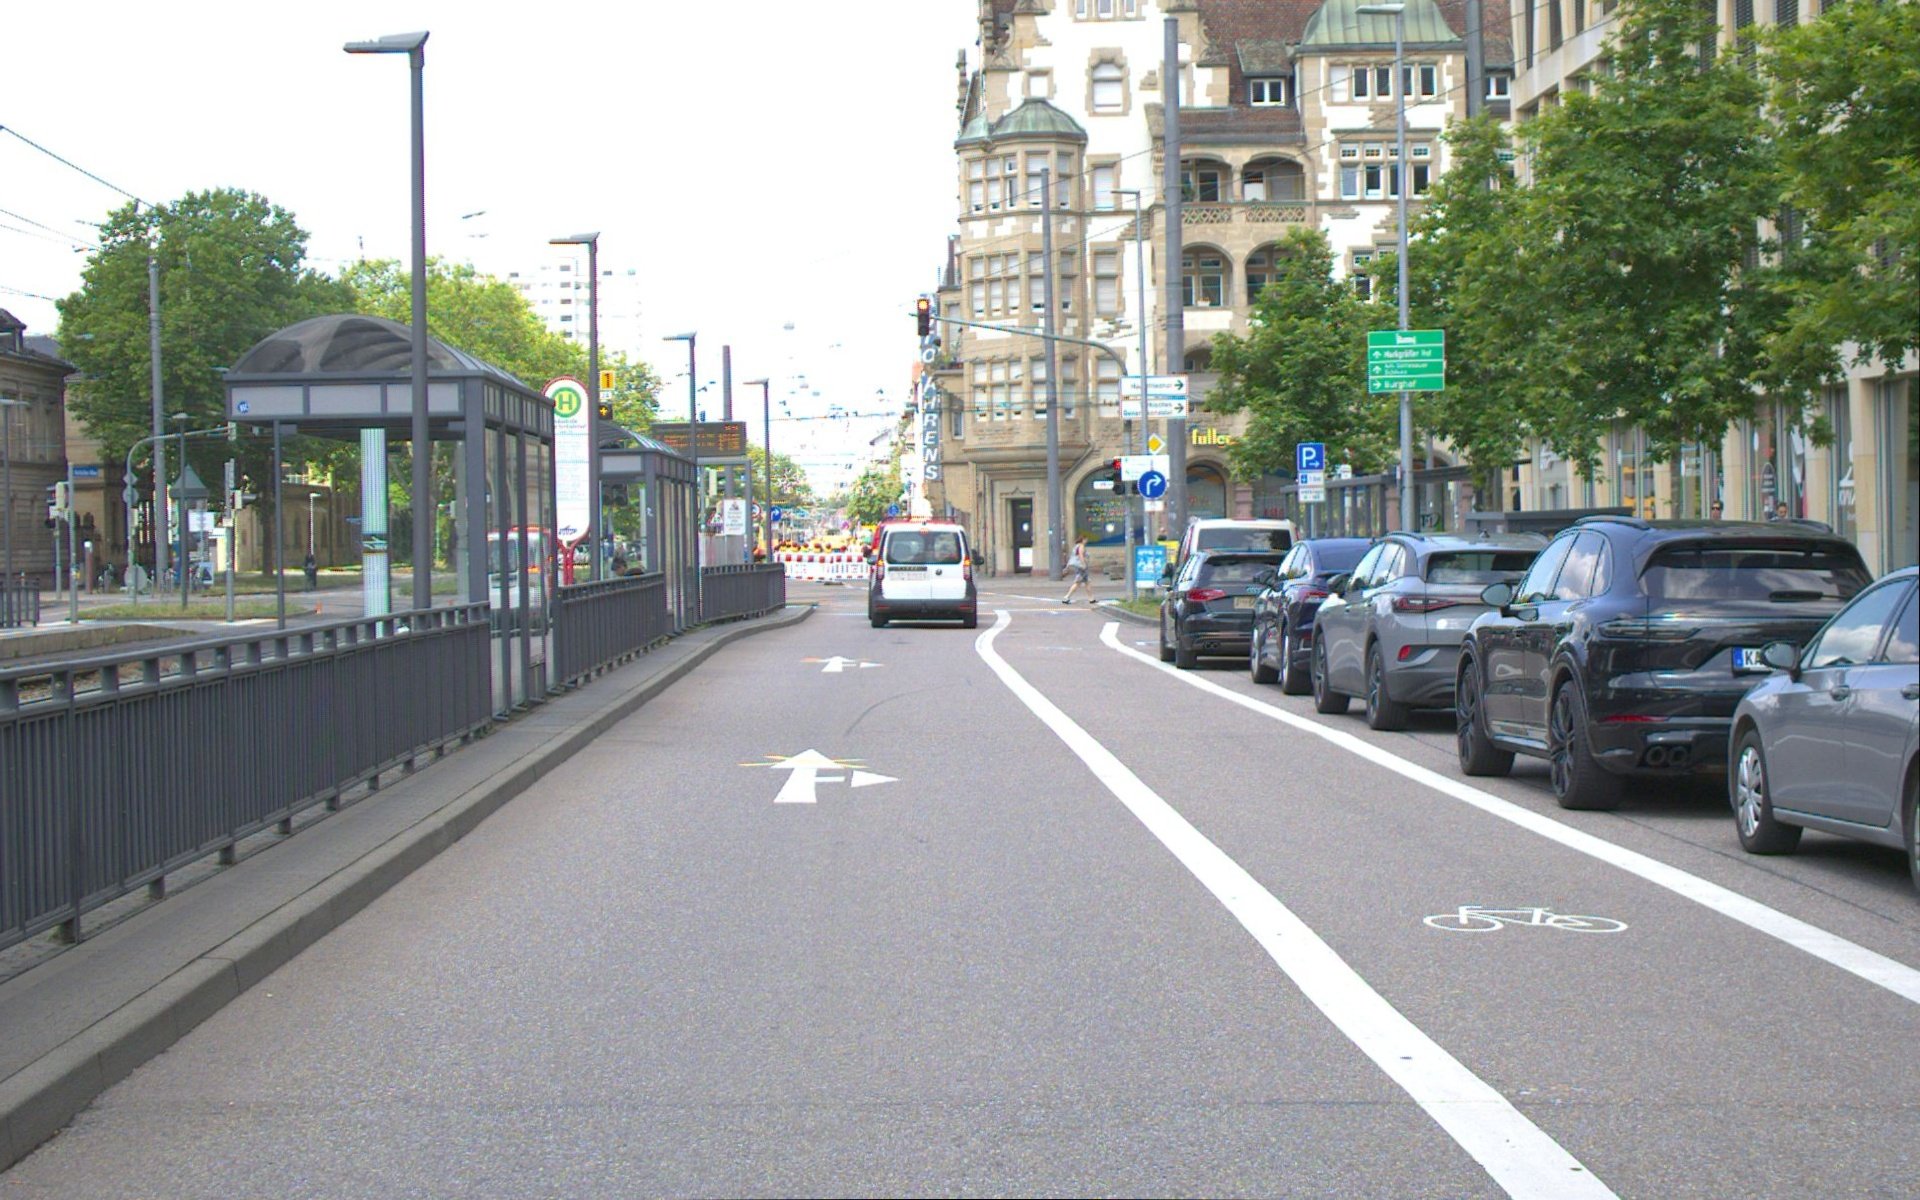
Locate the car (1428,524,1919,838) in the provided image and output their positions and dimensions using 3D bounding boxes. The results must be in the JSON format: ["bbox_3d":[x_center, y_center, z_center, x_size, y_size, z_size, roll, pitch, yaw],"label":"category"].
[{"bbox_3d":[4.178,0.383,20.881,1.738,1.663,4.841,1,1,-3],"label":"car"}]

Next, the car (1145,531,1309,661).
[{"bbox_3d":[3.203,-0.085,41.849,1.443,1.465,4.093,1,1,-3],"label":"car"}]

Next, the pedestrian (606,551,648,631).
[{"bbox_3d":[-4.822,-0.135,49.818,0.513,1.136,0.501,-3,1,-1],"label":"pedestrian"}]

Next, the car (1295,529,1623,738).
[{"bbox_3d":[4.112,0.213,29.121,1.806,1.586,4.841,1,1,-3],"label":"car"}]

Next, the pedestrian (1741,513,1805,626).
[{"bbox_3d":[12.220,-0.460,51.673,0.760,1.664,0.659,-1,1,-2],"label":"pedestrian"}]

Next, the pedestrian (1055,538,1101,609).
[{"bbox_3d":[2.659,-0.590,77.789,0.805,1.567,0.629,-3,1,-17],"label":"pedestrian"}]

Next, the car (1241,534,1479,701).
[{"bbox_3d":[4.084,0.130,35.750,1.807,1.586,4.306,1,1,-2],"label":"car"}]

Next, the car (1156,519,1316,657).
[{"bbox_3d":[3.723,-0.190,46.811,1.709,1.790,3.362,1,1,-3],"label":"car"}]

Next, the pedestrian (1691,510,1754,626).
[{"bbox_3d":[11.449,-0.481,51.652,0.760,1.717,0.659,-1,1,-2],"label":"pedestrian"}]

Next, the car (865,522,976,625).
[{"bbox_3d":[-0.721,-0.488,60.378,1.868,1.740,4.000,0,1,-2],"label":"car"}]

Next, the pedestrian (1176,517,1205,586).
[{"bbox_3d":[5.318,-1.120,79.485,0.534,1.567,0.542,-3,1,-3],"label":"pedestrian"}]

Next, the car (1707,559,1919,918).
[{"bbox_3d":[4.673,0.568,15.269,1.591,1.429,4.108,1,1,-3],"label":"car"}]

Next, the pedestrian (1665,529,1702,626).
[{"bbox_3d":[10.850,-0.340,51.563,0.438,1.443,0.434,-1,1,-2],"label":"pedestrian"}]

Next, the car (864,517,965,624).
[{"bbox_3d":[-0.914,-0.591,66.669,1.868,2.013,4.000,0,1,-2],"label":"car"}]
